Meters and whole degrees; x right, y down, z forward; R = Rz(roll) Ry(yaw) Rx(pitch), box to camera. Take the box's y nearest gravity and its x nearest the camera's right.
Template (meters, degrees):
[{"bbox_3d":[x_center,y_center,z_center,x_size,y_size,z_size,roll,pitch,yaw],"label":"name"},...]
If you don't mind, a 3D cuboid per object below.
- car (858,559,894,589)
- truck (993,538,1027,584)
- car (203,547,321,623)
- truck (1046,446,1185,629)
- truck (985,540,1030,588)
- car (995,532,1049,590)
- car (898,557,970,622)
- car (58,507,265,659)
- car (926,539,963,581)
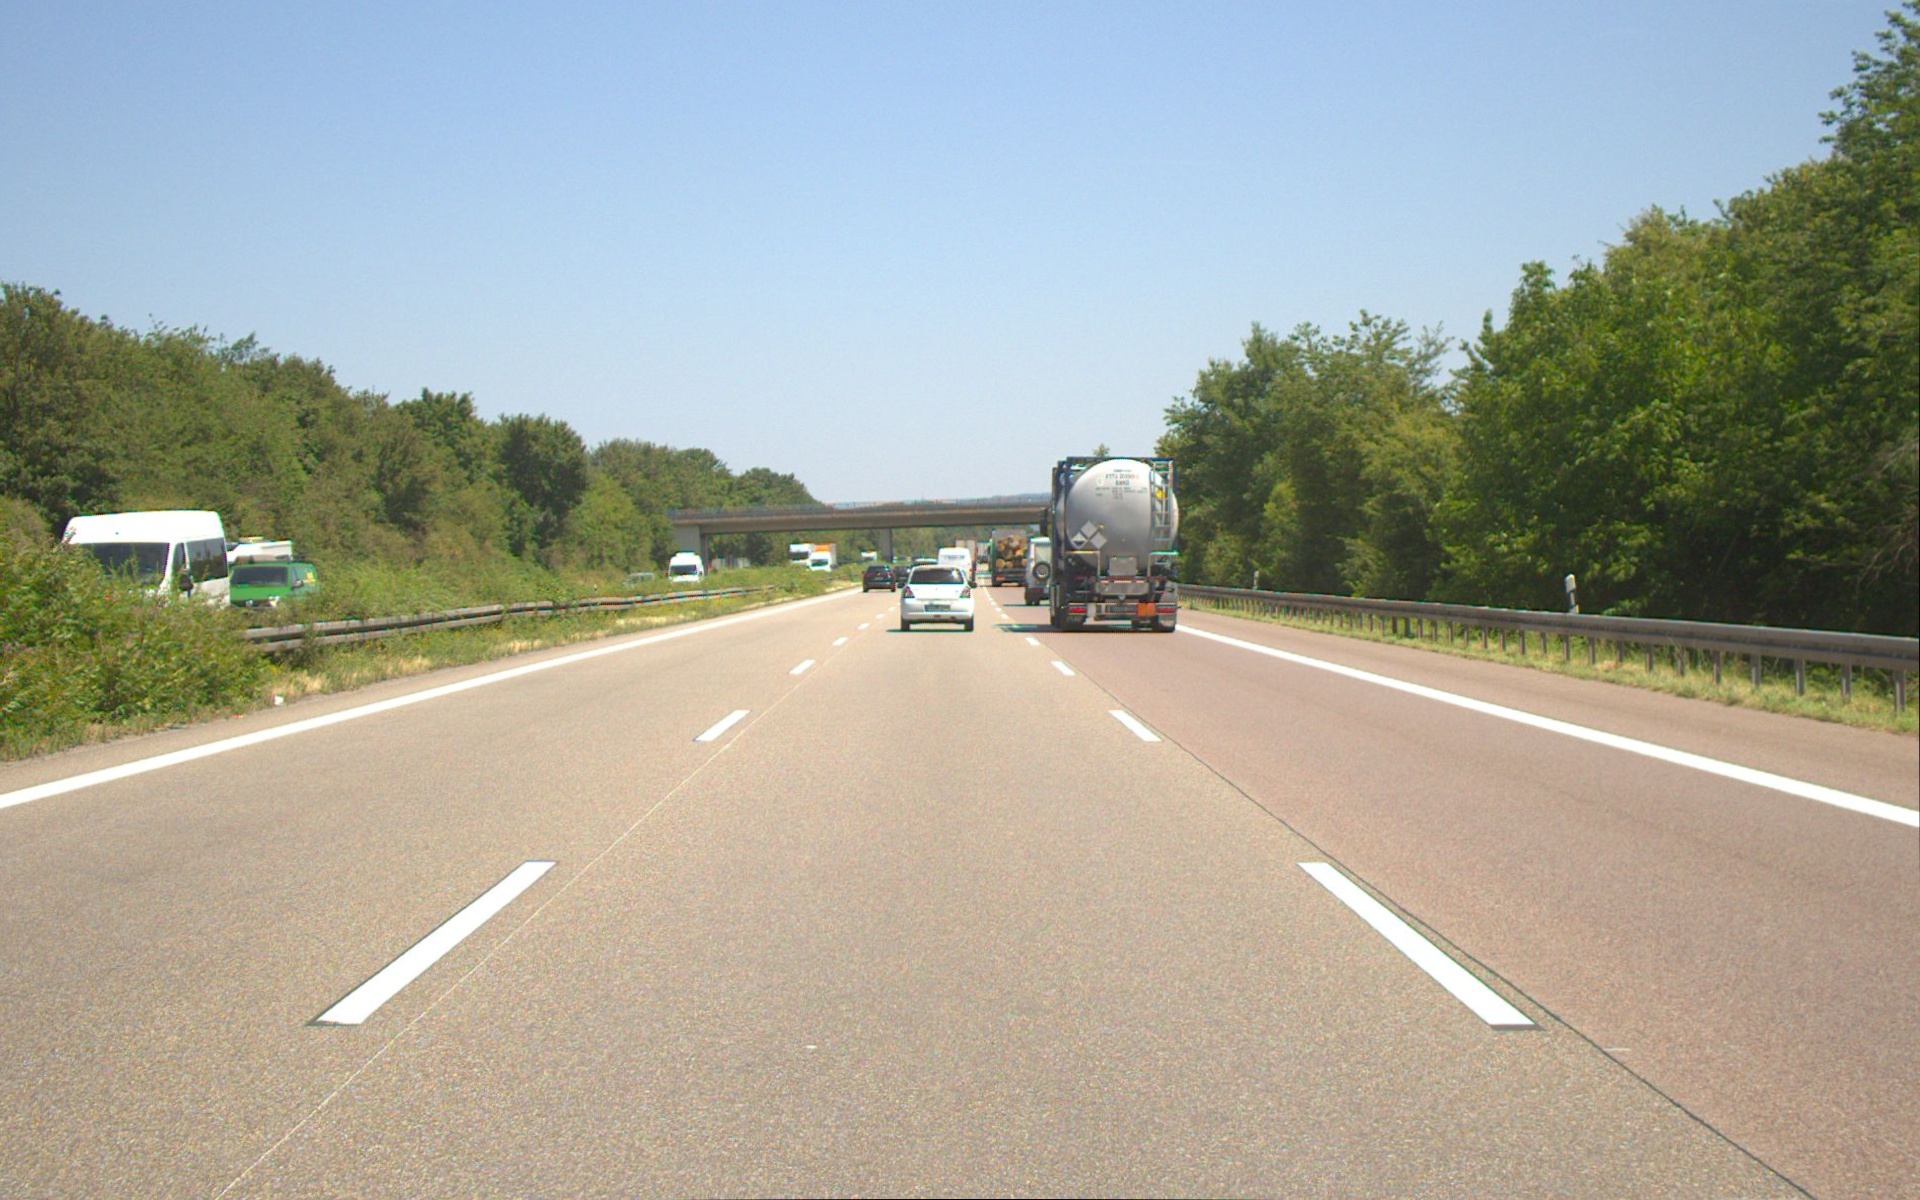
[{"bbox_3d":[-4.802,-1.488,197.768,1.993,1.719,4.786,0,1,0],"label":"car"},{"bbox_3d":[3.520,-2.727,244.186,2.290,3.229,6.344,0,0,0],"label":"truck"},{"bbox_3d":[-17.901,-0.402,88.438,1.993,1.872,5.460,-1,1,-1],"label":"car"},{"bbox_3d":[3.568,-1.455,81.216,2.739,4.038,10.455,0,1,0],"label":"truck"},{"bbox_3d":[3.226,-2.415,233.718,2.915,3.229,6.344,0,0,0],"label":"truck"},{"bbox_3d":[2.376,-1.507,133.150,1.993,2.217,4.786,0,1,0],"label":"car"},{"bbox_3d":[-0.612,-0.256,79.696,1.627,1.474,4.000,0,1,0],"label":"car"},{"bbox_3d":[-13.314,-0.308,57.700,1.993,2.392,6.166,-1,1,0],"label":"car"},{"bbox_3d":[-0.851,-2.297,195.514,1.993,2.335,4.387,0,1,1],"label":"car"}]
